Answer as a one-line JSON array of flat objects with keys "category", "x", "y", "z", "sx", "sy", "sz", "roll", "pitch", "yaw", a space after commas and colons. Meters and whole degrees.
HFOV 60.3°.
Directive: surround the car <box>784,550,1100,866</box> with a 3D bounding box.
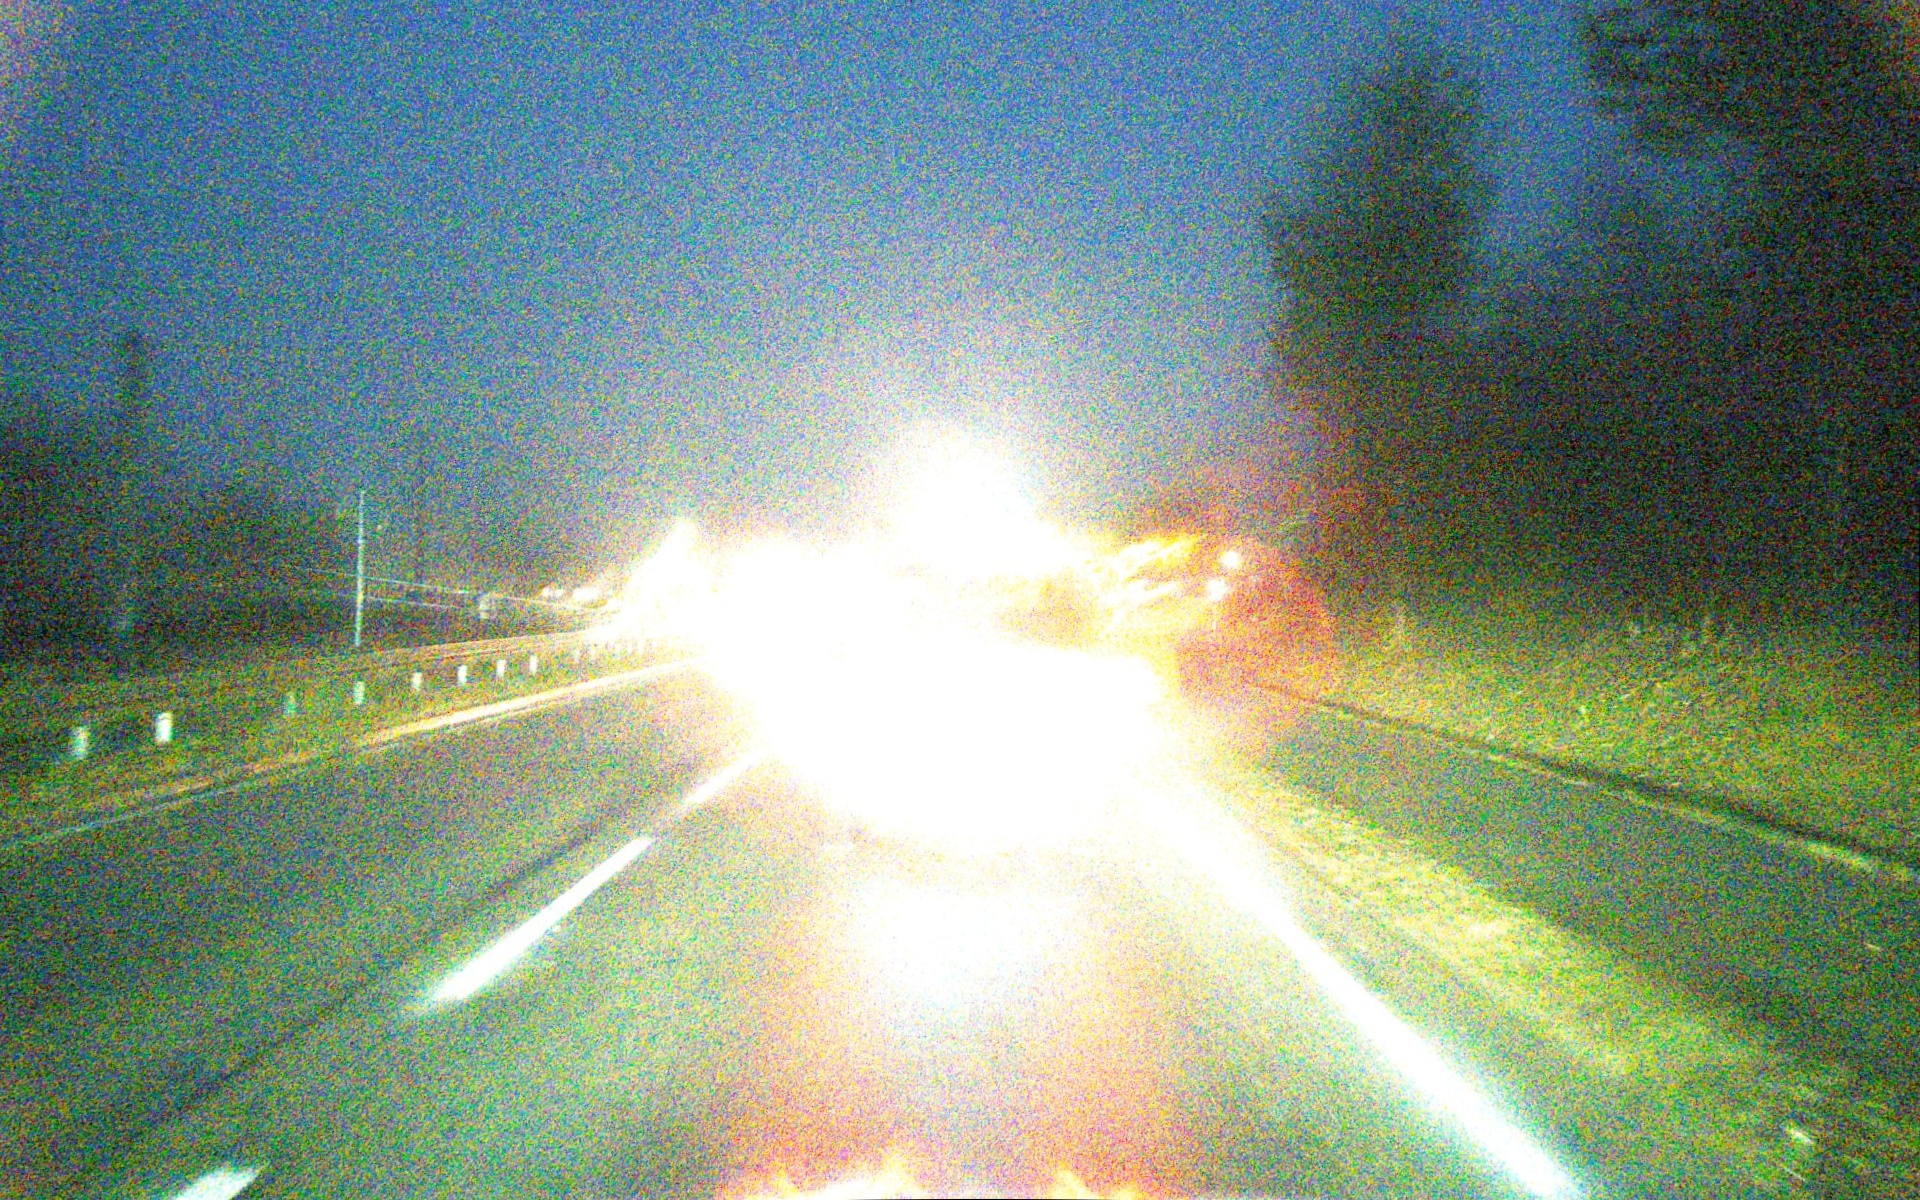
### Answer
[{"category": "car", "x": -0.103, "y": 0.613, "z": 11.186, "sx": 1.739, "sy": 1.742, "sz": 3.999, "roll": 0, "pitch": 0, "yaw": 0}]
